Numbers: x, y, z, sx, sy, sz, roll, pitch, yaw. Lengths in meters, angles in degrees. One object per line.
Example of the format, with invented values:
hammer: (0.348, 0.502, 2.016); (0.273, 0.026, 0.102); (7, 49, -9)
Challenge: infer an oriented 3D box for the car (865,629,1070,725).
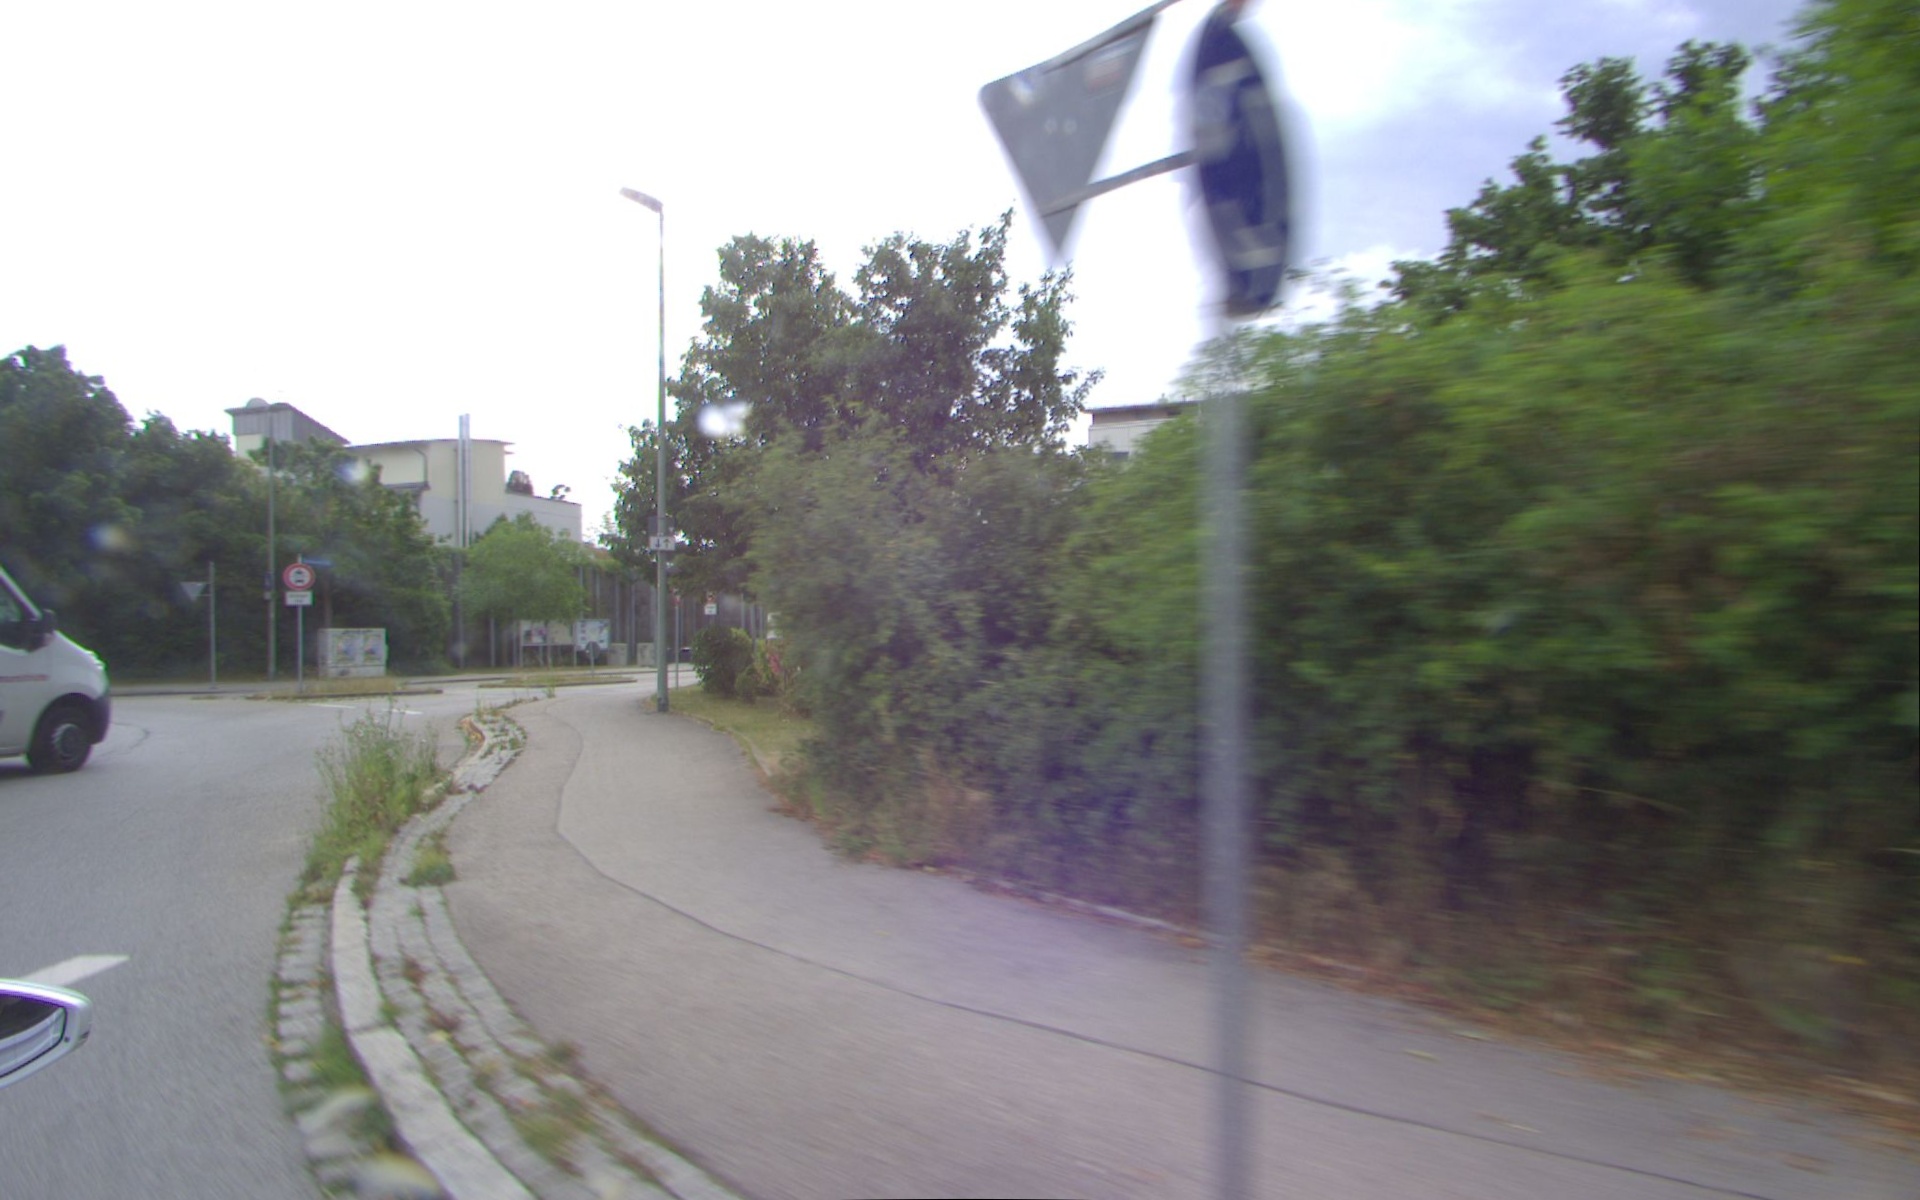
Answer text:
car: (0.285, 1.299, 18.235); (1.737, 1.512, 4.396); (-1, -2, 31)

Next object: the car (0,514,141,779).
car: (-10.045, 0.383, 8.225); (2.127, 2.483, 5.444); (1, -2, 0)
